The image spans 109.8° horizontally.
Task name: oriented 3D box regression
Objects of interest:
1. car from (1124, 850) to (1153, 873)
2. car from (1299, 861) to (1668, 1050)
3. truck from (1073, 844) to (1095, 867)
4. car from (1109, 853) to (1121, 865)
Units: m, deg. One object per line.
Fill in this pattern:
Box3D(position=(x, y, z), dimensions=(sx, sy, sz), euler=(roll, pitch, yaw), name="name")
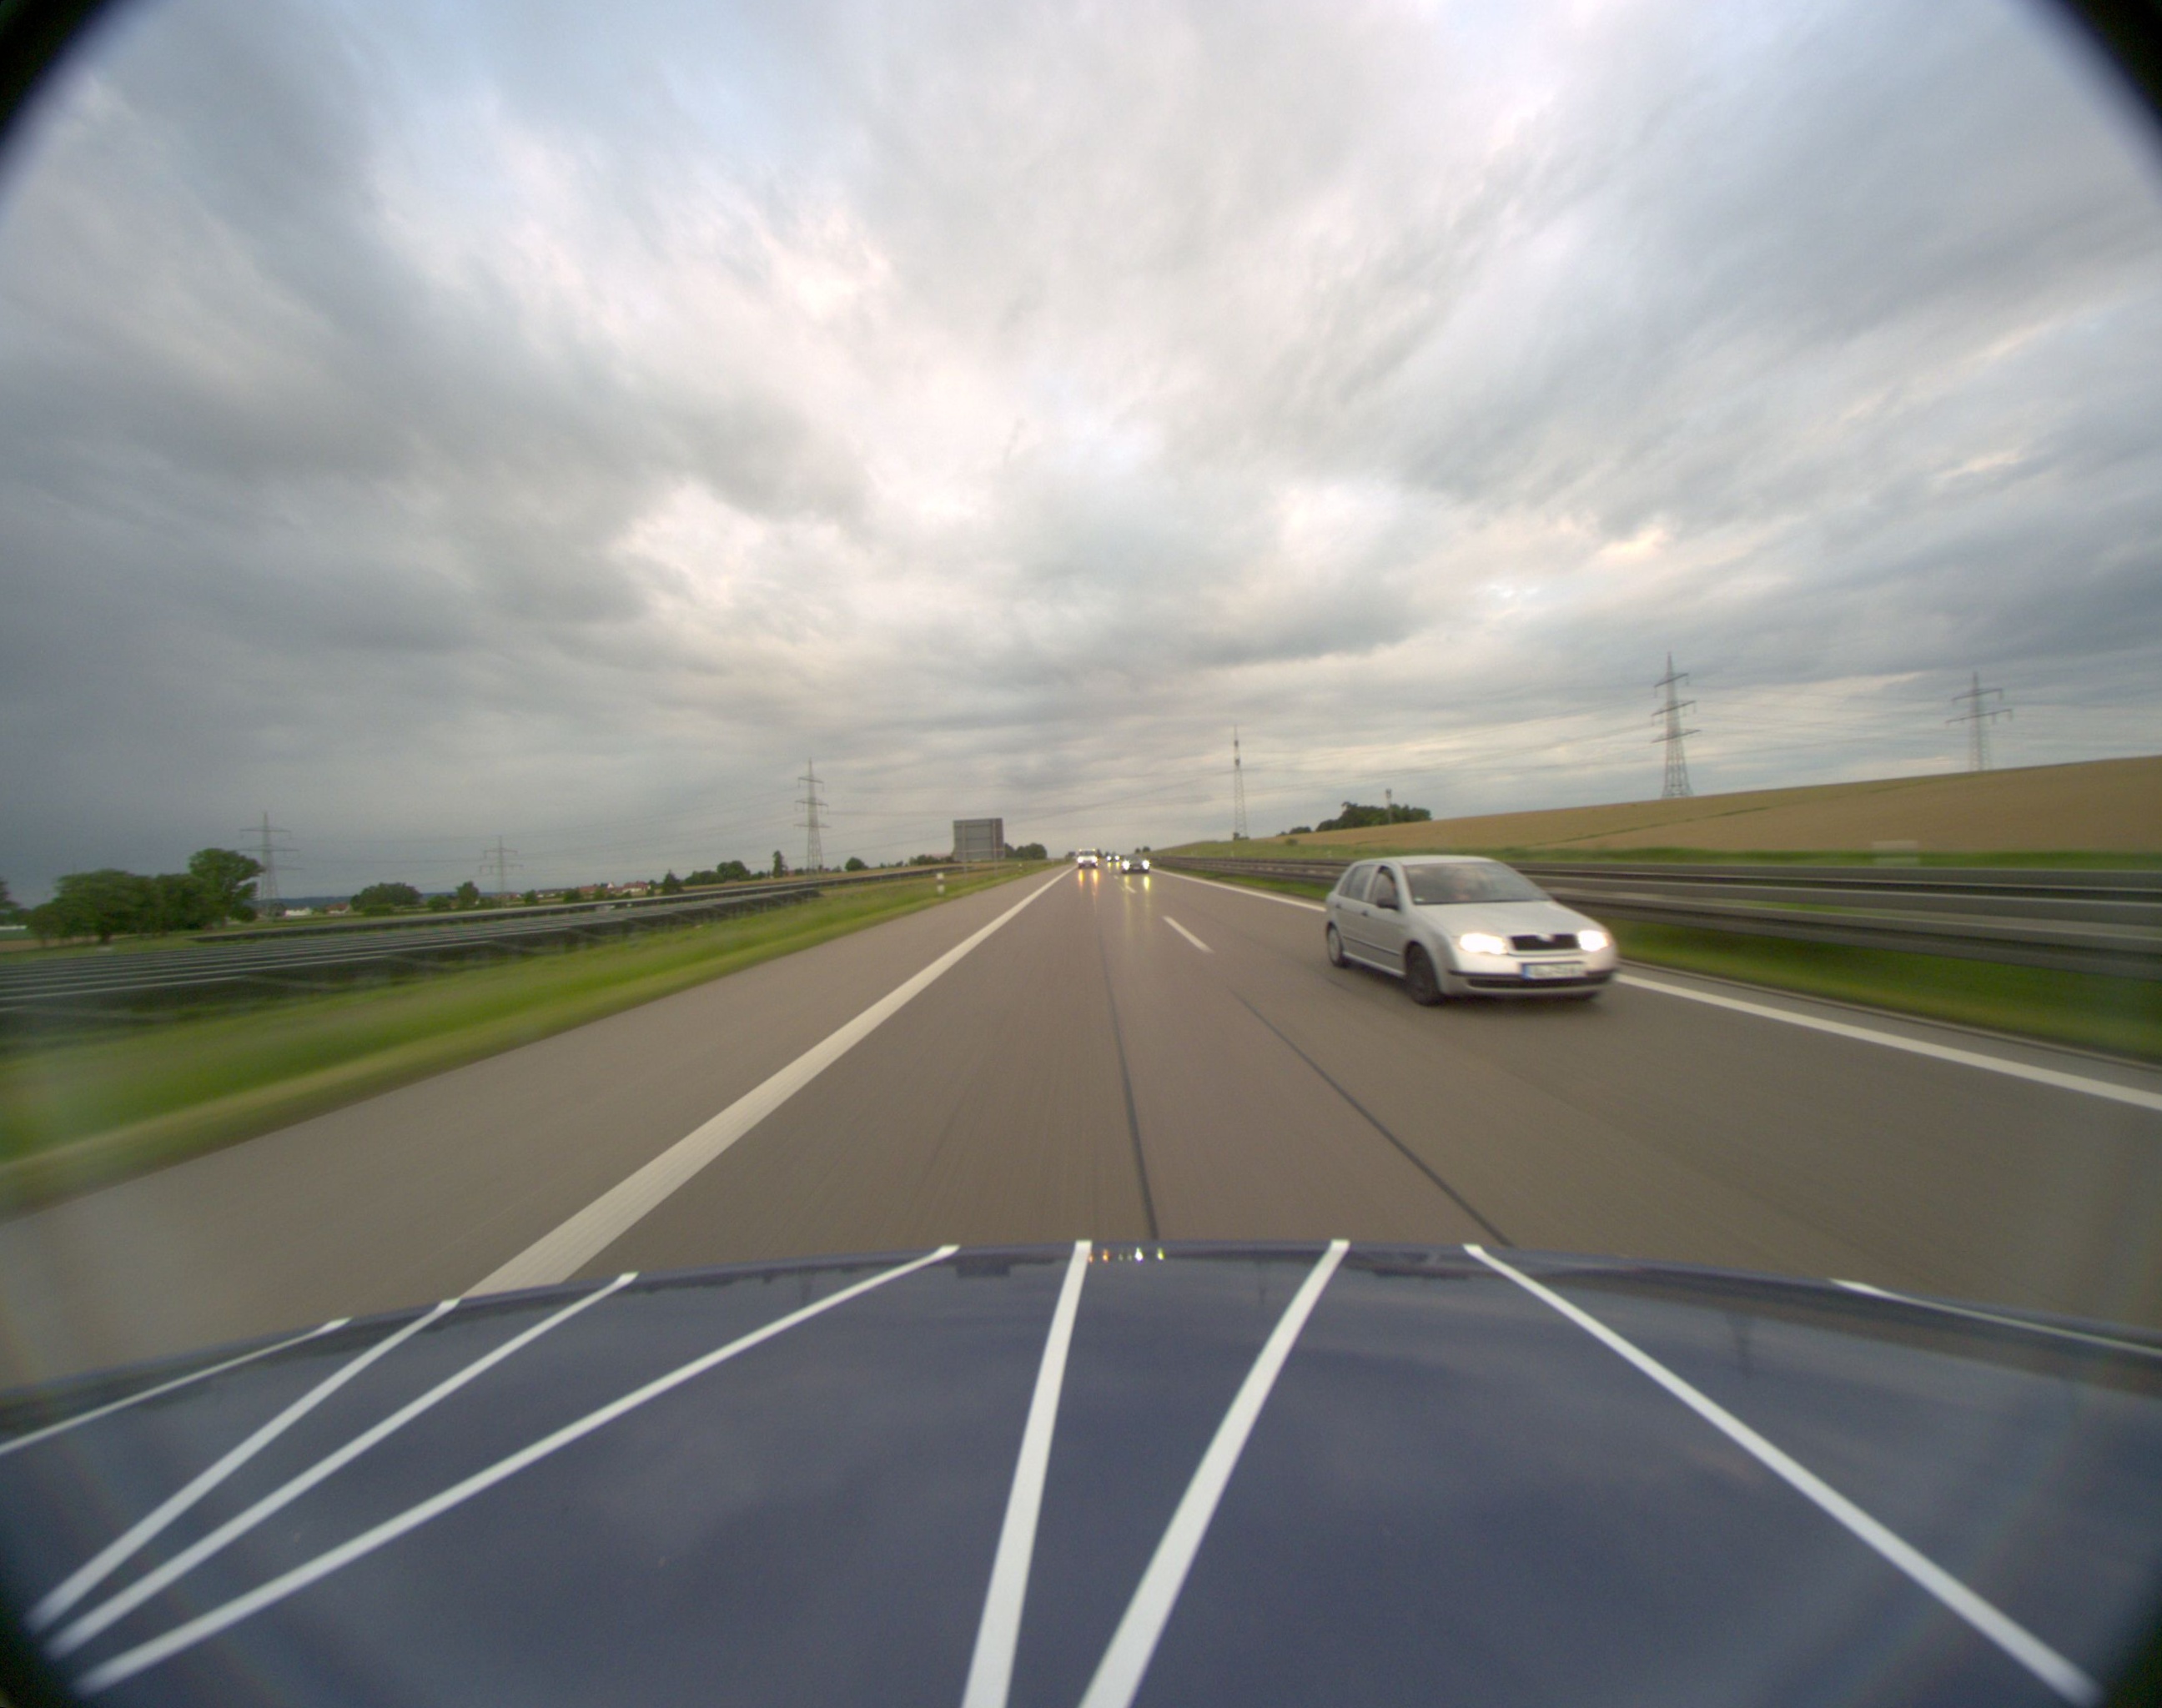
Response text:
Box3D(position=(4.382, 0.565, 58.888), dimensions=(1.951, 1.620, 4.536), euler=(-3, 0, 2), name="car")
Box3D(position=(3.879, 0.836, 8.374), dimensions=(1.592, 1.381, 4.601), euler=(-2, 0, 0), name="car")
Box3D(position=(0.389, 0.154, 86.934), dimensions=(2.177, 2.346, 7.696), euler=(-5, 0, 1), name="truck")
Box3D(position=(6.298, 0.934, 141.474), dimensions=(1.999, 2.002, 4.461), euler=(-5, 0, 0), name="car")
